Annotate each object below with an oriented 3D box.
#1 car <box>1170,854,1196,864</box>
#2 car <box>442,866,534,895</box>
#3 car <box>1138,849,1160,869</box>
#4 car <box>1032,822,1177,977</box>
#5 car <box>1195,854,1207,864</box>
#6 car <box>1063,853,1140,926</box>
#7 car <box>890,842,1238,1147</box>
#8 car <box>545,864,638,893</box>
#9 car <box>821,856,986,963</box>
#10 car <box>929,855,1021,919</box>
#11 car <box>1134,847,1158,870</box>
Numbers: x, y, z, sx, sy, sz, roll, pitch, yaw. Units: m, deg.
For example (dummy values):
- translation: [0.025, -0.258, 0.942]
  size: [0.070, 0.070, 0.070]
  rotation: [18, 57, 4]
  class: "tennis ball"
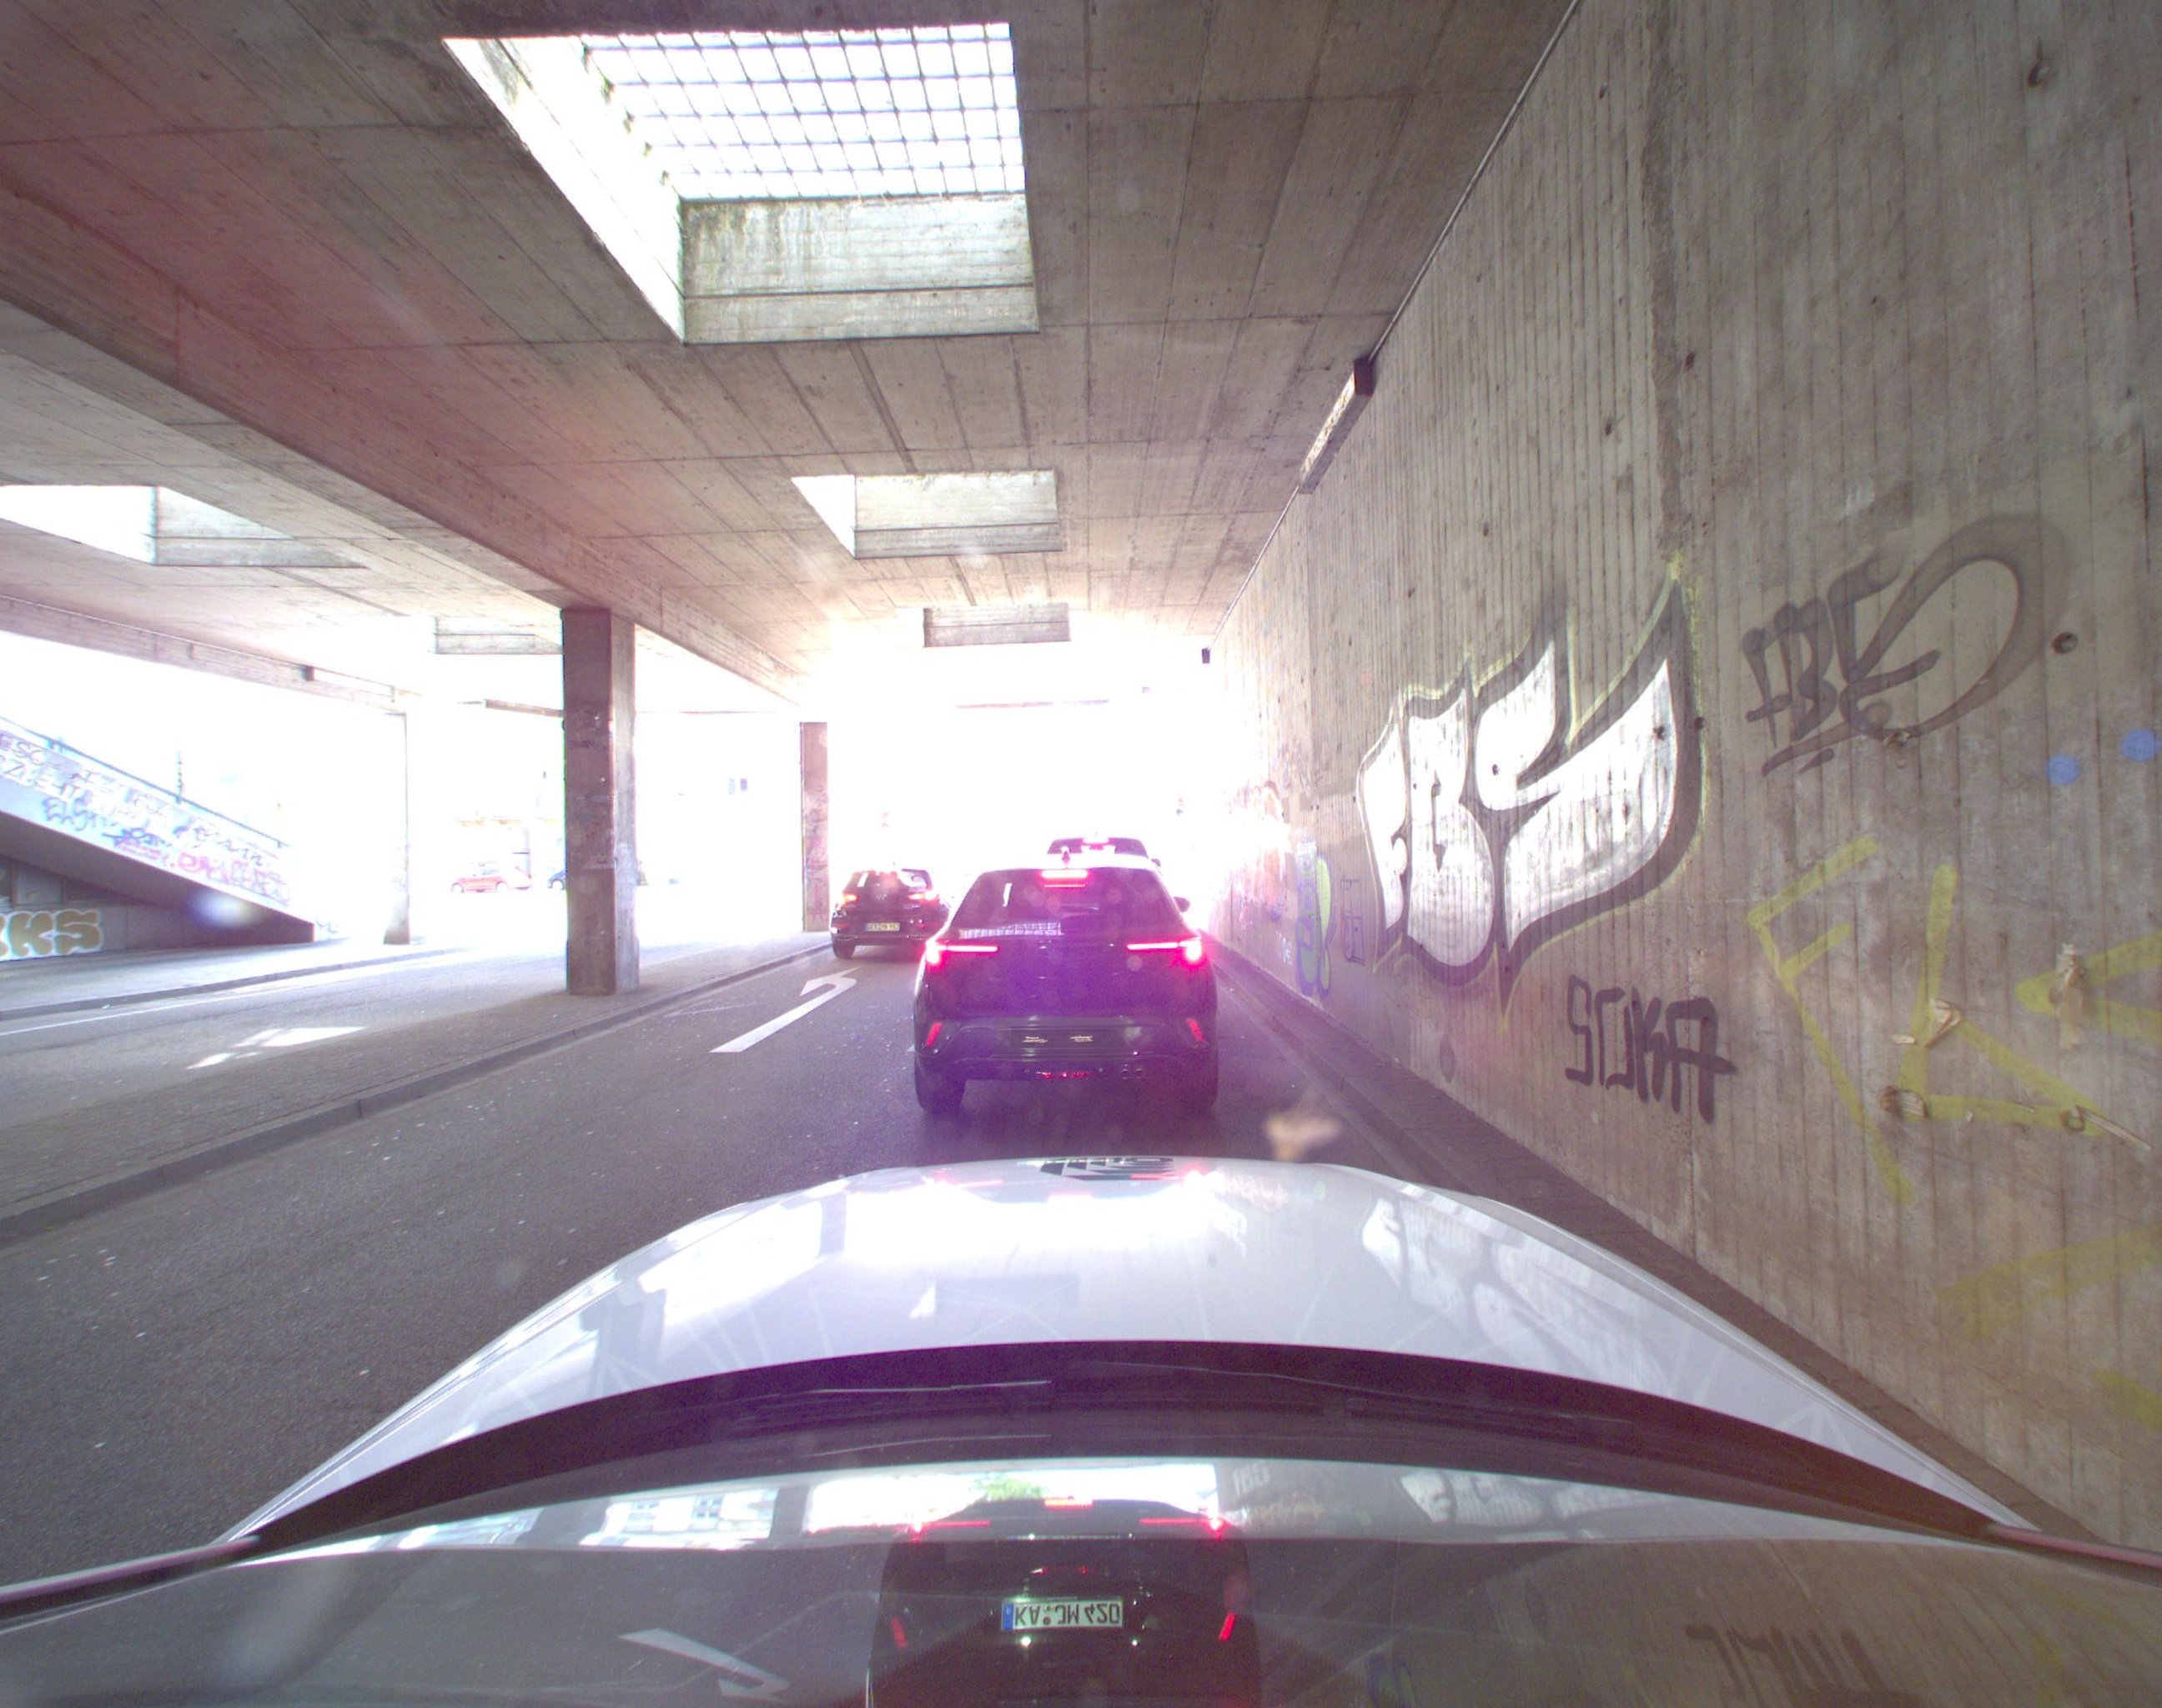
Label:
- translation: [16.985, 0.882, 135.502]
  size: [1.800, 1.667, 4.845]
  rotation: [-1, -1, 41]
  class: "car"
- translation: [-32.921, 1.476, 45.268]
  size: [3.748, 1.475, 1.749]
  rotation: [-1, -1, 0]
  class: "car"
- translation: [5.764, 0.415, 68.352]
  size: [1.745, 1.667, 3.950]
  rotation: [0, -1, 6]
  class: "car"
- translation: [0.361, 0.563, 12.161]
  size: [1.755, 1.883, 4.148]
  rotation: [-1, 0, 2]
  class: "car"
- translation: [20.899, 0.888, 141.426]
  size: [1.742, 1.667, 3.958]
  rotation: [-1, -1, 13]
  class: "car"
- translation: [0.498, 0.758, 19.379]
  size: [1.603, 1.513, 4.055]
  rotation: [-1, 0, 2]
  class: "car"
- translation: [-0.024, 0.723, 6.221]
  size: [1.755, 1.531, 4.091]
  rotation: [-1, 0, 2]
  class: "car"
- translation: [-27.165, 1.347, 45.290]
  size: [4.096, 1.475, 1.737]
  rotation: [-1, -1, 0]
  class: "car"
- translation: [-2.745, 0.799, 13.480]
  size: [1.755, 1.480, 3.846]
  rotation: [-1, 0, 2]
  class: "car"
- translation: [-2.655, 0.796, 21.209]
  size: [1.755, 1.480, 3.846]
  rotation: [-1, 0, 2]
  class: "car"
- translation: [4.976, 0.372, 62.248]
  size: [1.745, 1.667, 3.950]
  rotation: [0, -1, 6]
  class: "car"
